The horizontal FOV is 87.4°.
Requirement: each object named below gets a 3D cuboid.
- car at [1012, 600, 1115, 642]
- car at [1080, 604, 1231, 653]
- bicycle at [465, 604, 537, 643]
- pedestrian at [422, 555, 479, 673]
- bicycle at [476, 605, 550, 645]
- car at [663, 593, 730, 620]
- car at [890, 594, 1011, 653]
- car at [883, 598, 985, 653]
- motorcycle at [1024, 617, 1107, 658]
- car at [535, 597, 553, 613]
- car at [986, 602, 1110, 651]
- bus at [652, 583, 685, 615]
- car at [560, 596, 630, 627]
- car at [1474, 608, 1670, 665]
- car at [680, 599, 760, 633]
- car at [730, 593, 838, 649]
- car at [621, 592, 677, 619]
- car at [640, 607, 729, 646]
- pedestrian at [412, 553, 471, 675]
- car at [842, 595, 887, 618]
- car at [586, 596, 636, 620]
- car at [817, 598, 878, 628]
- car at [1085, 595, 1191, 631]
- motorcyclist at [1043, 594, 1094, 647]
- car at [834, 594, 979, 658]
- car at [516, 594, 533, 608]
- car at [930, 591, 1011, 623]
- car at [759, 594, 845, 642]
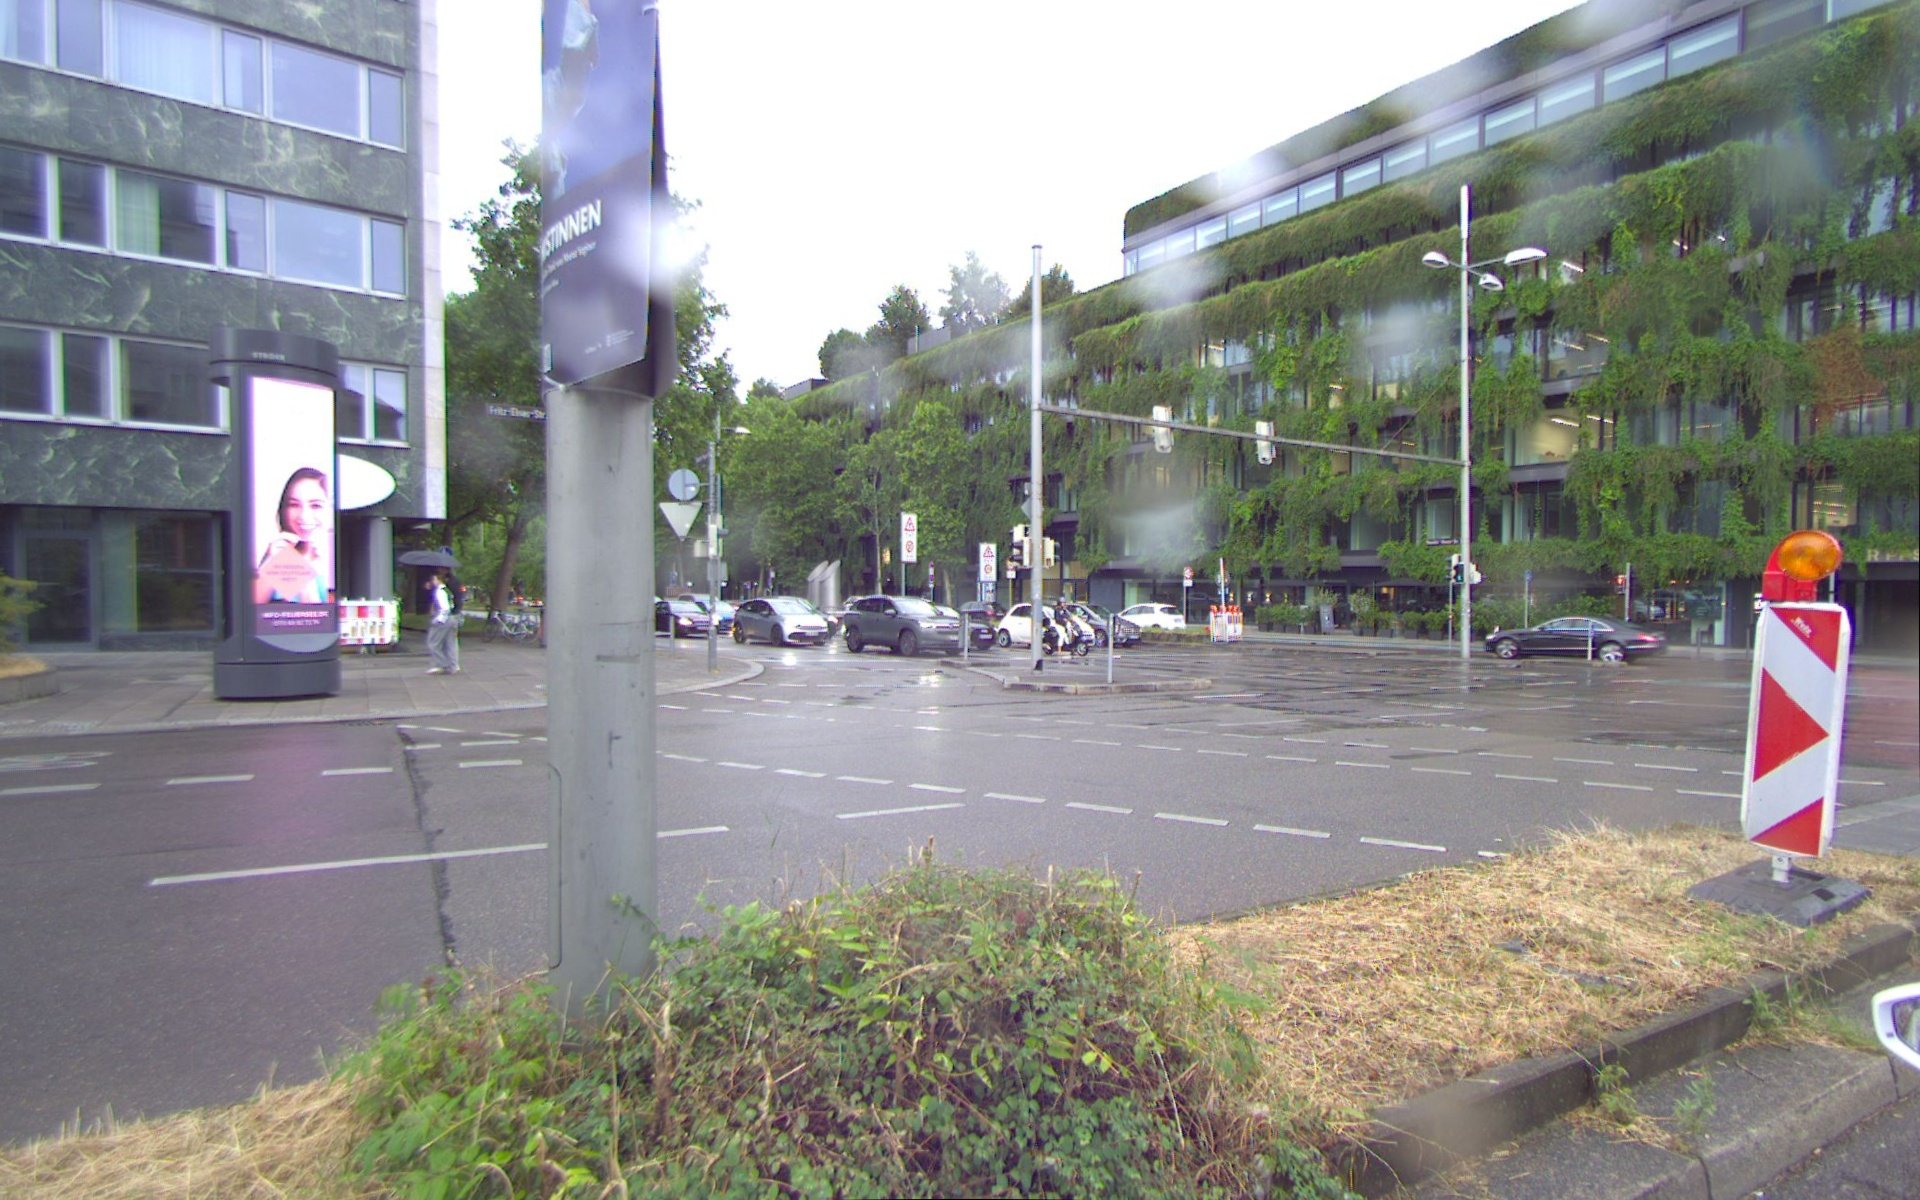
[{"bbox_3d":[4.766,0.935,46.787,1.798,1.532,4.638,2,3,-43],"label":"car"},{"bbox_3d":[6.621,0.934,34.410,4.842,1.508,1.922,1,0,45],"label":"car"},{"bbox_3d":[-12.973,0.663,28.411,1.765,1.066,0.581,1,0,-35],"label":"bicycle"},{"bbox_3d":[-9.017,0.246,17.792,0.715,2.040,0.598,1,0,-10],"label":"pedestrian"},{"bbox_3d":[-12.295,0.679,27.633,1.765,1.066,0.581,1,0,-35],"label":"bicycle"},{"bbox_3d":[-13.927,0.337,52.923,1.982,1.389,4.131,1,0,-37],"label":"car"},{"bbox_3d":[-0.379,0.709,32.533,1.981,1.773,3.958,1,0,-37],"label":"car"},{"bbox_3d":[-1.030,0.912,37.798,1.978,1.923,4.139,1,0,-33],"label":"car"},{"bbox_3d":[3.039,1.068,29.068,2.331,1.068,0.830,2,0,41],"label":"motorcycle"},{"bbox_3d":[-57.206,0.642,138.155,1.975,2.040,3.972,2,0,-27],"label":"car"},{"bbox_3d":[2.875,0.857,33.465,1.981,1.495,3.958,1,0,-37],"label":"car"},{"bbox_3d":[-32.021,-0.154,110.231,1.783,3.385,5.922,2,0,-34],"label":"bus"},{"bbox_3d":[-17.369,0.546,47.662,1.982,1.389,4.131,1,0,-37],"label":"car"},{"bbox_3d":[18.765,1.082,30.963,1.987,1.496,4.798,3,-1,-44],"label":"car"},{"bbox_3d":[-10.785,0.696,44.933,1.982,1.389,4.131,1,0,-37],"label":"car"},{"bbox_3d":[-6.015,0.659,34.035,1.982,1.773,3.956,1,0,-38],"label":"car"},{"bbox_3d":[-18.682,0.332,60.208,1.918,1.544,4.057,1,0,-38],"label":"car"},{"bbox_3d":[-10.898,1.003,39.624,1.982,1.389,4.131,1,0,-37],"label":"car"},{"bbox_3d":[-8.852,0.244,17.155,0.715,2.040,0.598,1,0,-10],"label":"pedestrian"},{"bbox_3d":[-7.366,0.489,77.246,1.783,1.588,3.962,2,0,-34],"label":"car"},{"bbox_3d":[-23.054,0.528,66.281,1.918,1.544,4.057,1,0,-38],"label":"car"},{"bbox_3d":[-6.621,0.729,58.830,1.834,1.692,3.958,1,0,-37],"label":"car"},{"bbox_3d":[8.255,0.571,46.893,1.799,1.532,4.636,2,0,-45],"label":"car"},{"bbox_3d":[3.137,0.581,28.993,1.153,1.492,0.832,2,0,40],"label":"motorcyclist"},{"bbox_3d":[-1.625,0.701,29.185,1.984,1.709,4.314,1,0,-41],"label":"car"},{"bbox_3d":[-62.759,0.135,144.780,1.975,2.040,3.972,1,0,-27],"label":"car"},{"bbox_3d":[0.558,0.365,54.877,1.985,1.660,4.364,2,0,-42],"label":"car"},{"bbox_3d":[-6.289,0.667,39.669,1.841,1.791,4.139,1,0,-32],"label":"car"}]
